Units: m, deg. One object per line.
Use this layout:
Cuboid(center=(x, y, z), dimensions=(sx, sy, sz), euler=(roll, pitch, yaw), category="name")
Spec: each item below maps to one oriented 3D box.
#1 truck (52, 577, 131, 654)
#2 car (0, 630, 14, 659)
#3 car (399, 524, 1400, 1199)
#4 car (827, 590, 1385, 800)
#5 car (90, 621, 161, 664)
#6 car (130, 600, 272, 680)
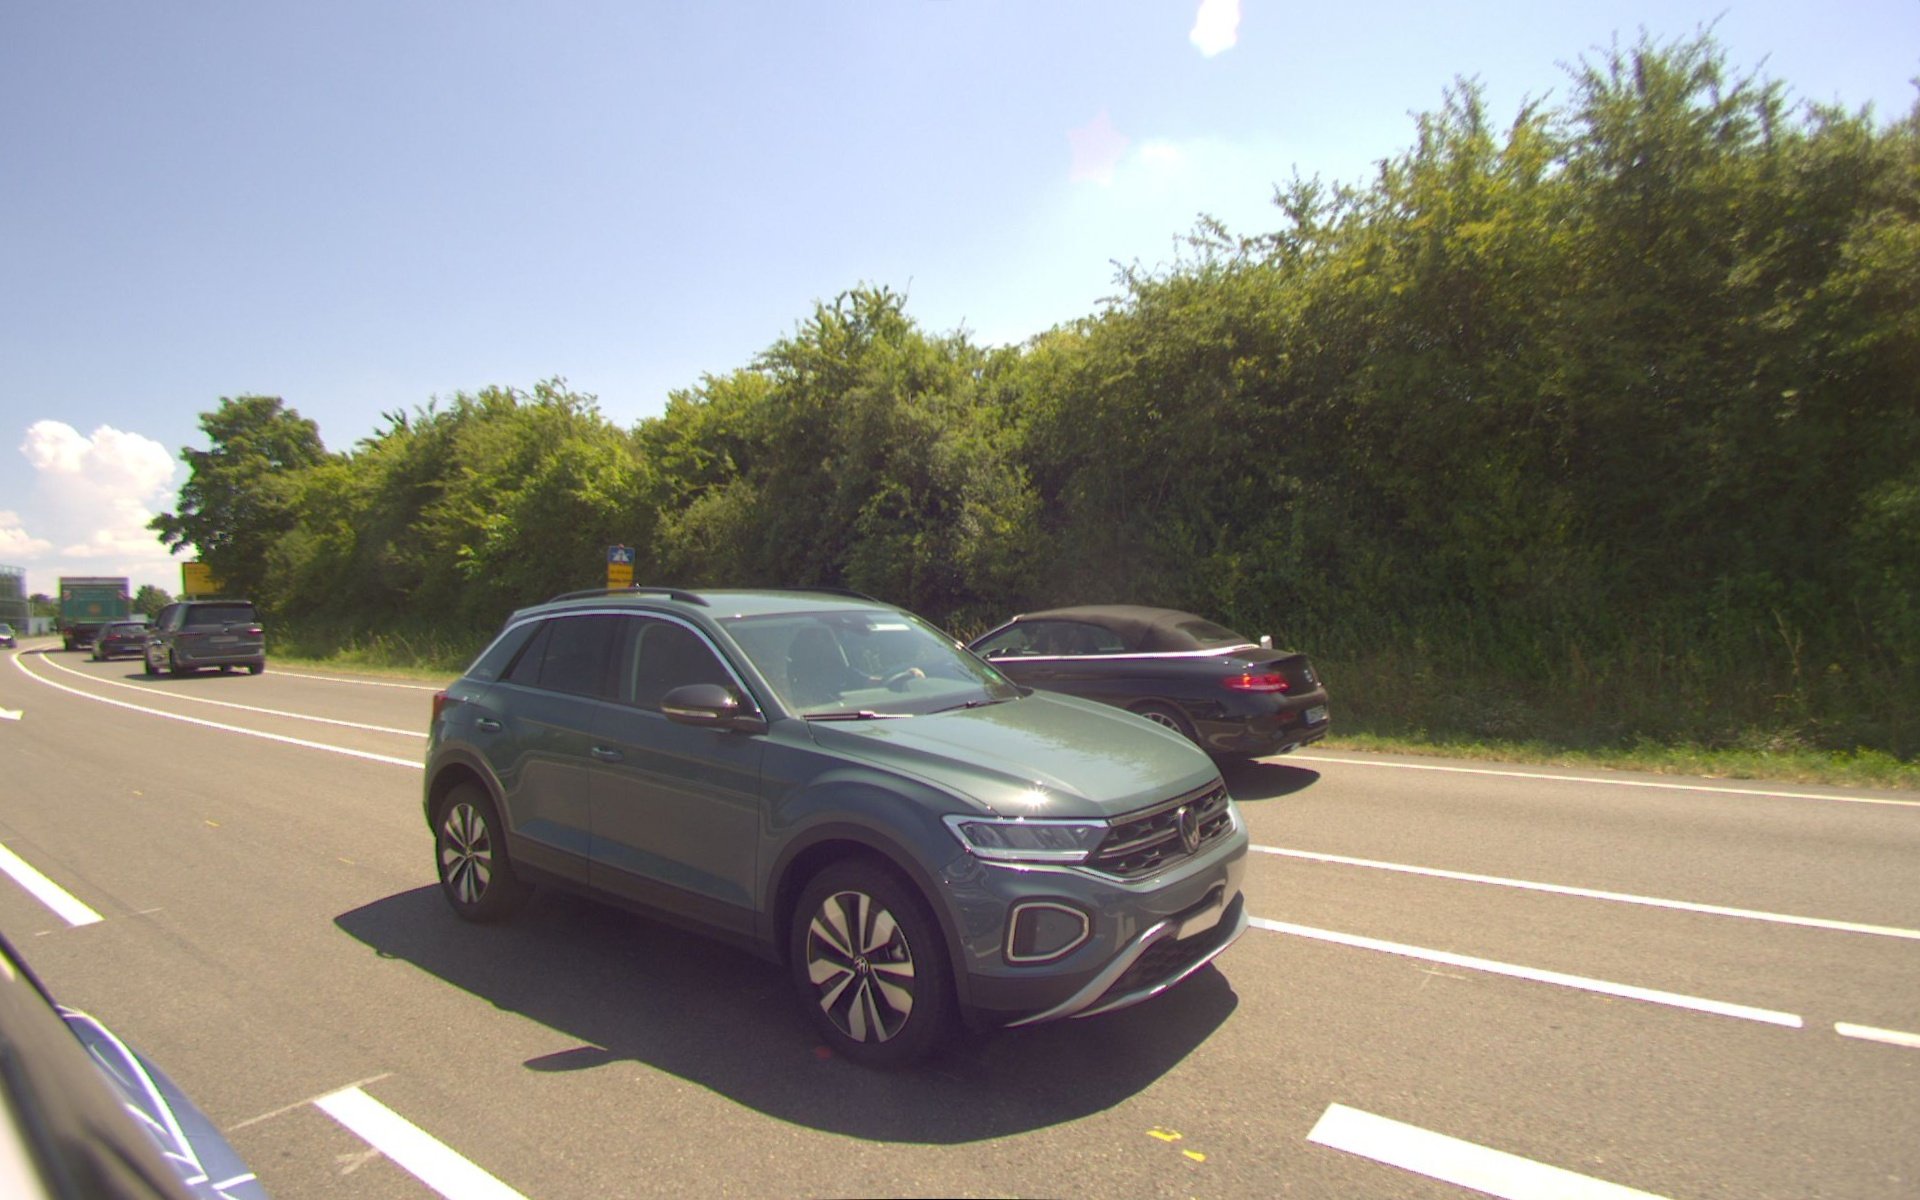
Cuboid(center=(-44.505, 0.785, 52.066), dimensions=(2.833, 3.601, 9.447), euler=(-1, 0, -39), category="truck")
Cuboid(center=(-56.663, 2.609, 58.904), dimensions=(2.086, 1.603, 4.457), euler=(-2, 1, -40), category="car")
Cuboid(center=(-0.619, 0.662, 4.506), dimensions=(4.387, 1.598, 1.816), euler=(-2, -1, 40), category="car")
Cuboid(center=(1.150, 0.697, 9.079), dimensions=(4.632, 1.453, 1.802), euler=(-1, 0, 35), category="car")
Cuboid(center=(-31.003, 1.523, 37.544), dimensions=(1.854, 1.453, 4.335), euler=(-1, 0, -42), category="car")
Cuboid(center=(-20.129, 1.012, 26.740), dimensions=(5.101, 1.909, 1.973), euler=(-2, 0, 41), category="car")
